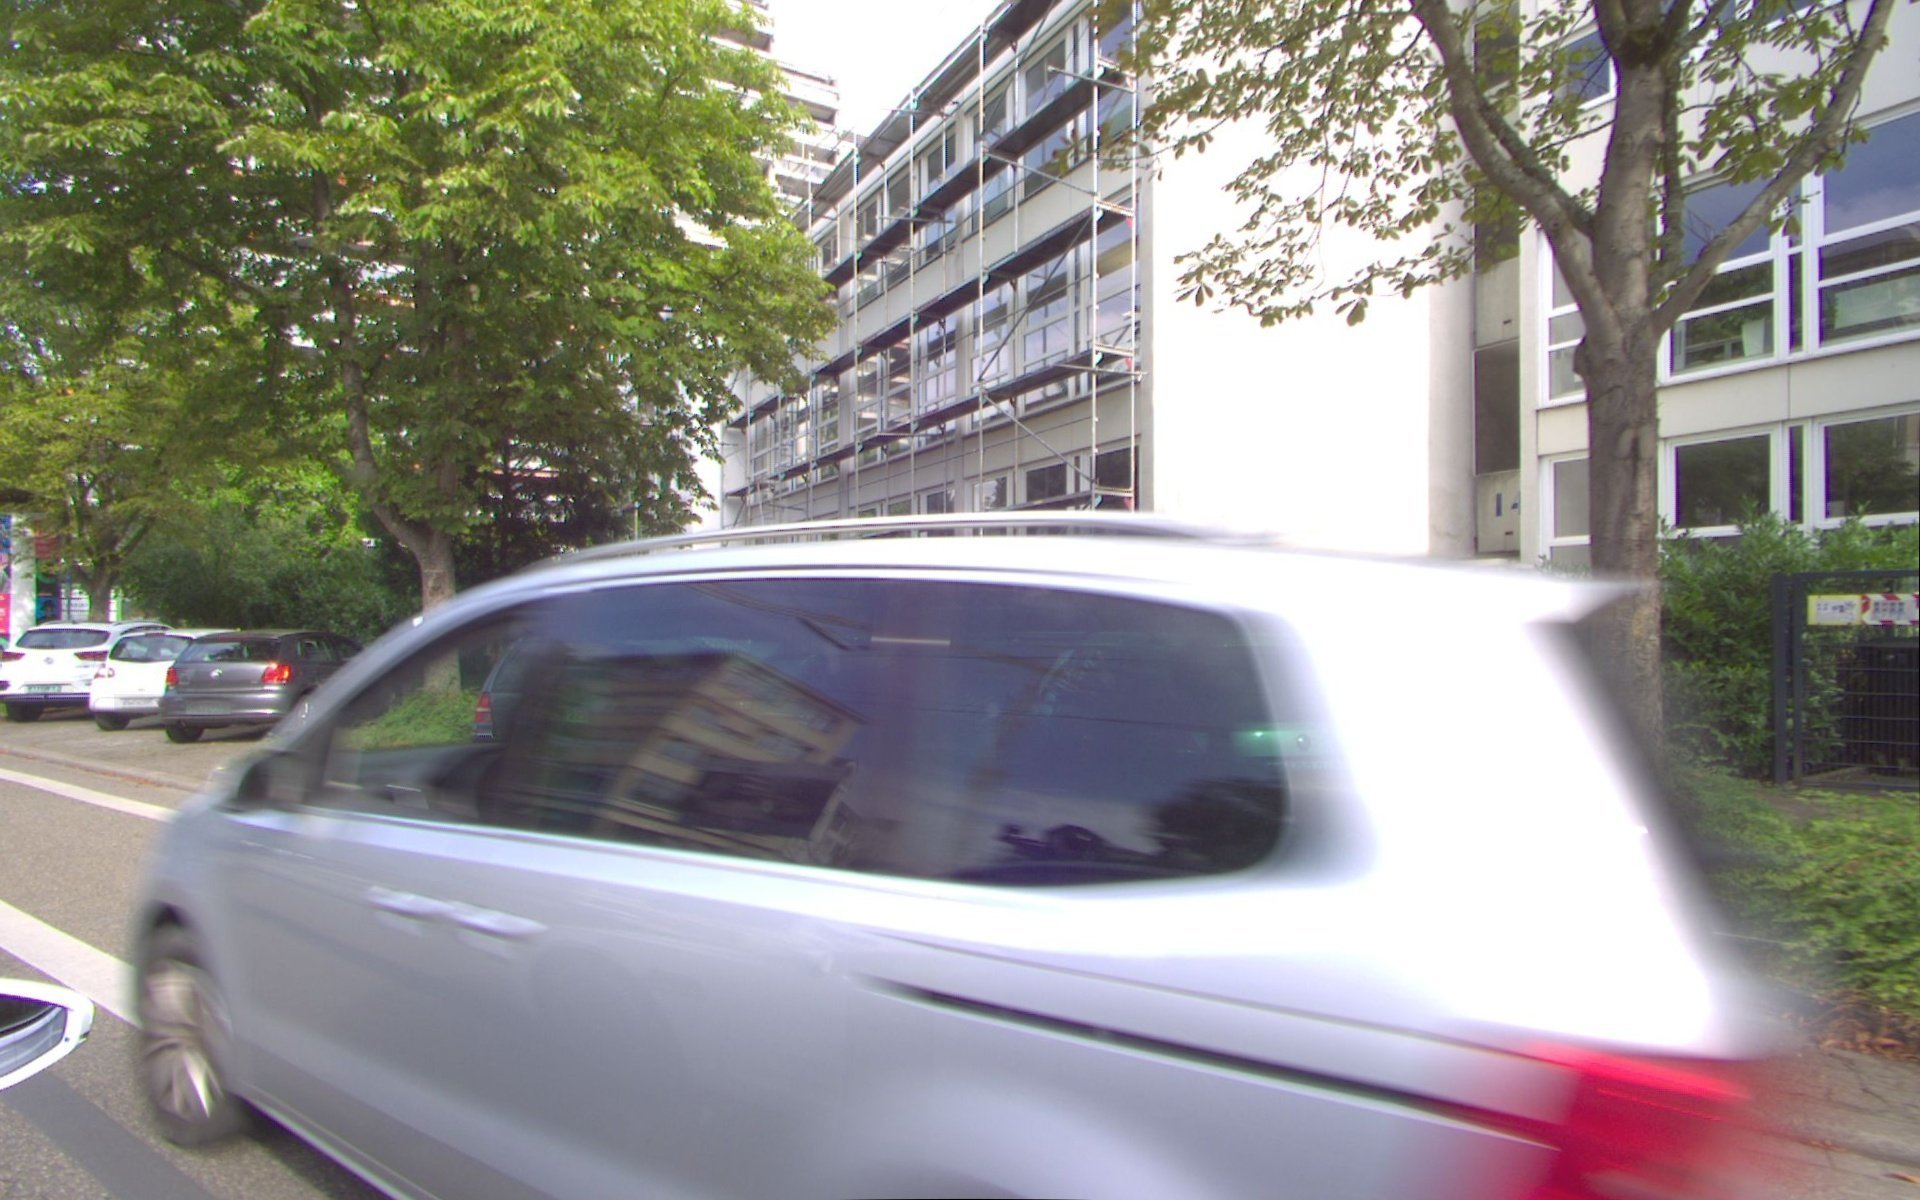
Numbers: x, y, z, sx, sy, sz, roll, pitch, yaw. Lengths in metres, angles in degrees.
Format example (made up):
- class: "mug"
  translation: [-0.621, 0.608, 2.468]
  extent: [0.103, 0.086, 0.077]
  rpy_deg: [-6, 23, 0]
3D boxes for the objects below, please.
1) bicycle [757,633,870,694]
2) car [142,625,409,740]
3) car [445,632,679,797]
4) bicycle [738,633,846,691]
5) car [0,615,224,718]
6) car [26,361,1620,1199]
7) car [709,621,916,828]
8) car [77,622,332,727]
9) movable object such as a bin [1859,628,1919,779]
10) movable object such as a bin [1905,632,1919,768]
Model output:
- class: "bicycle"
  translation: [-2.648, 1.130, 18.139]
  extent: [1.949, 1.057, 0.592]
  rpy_deg: [1, -1, -30]
- class: "car"
  translation: [-9.656, 1.099, 14.493]
  extent: [1.650, 1.438, 3.647]
  rpy_deg: [0, -2, -6]
- class: "car"
  translation: [-4.104, 1.071, 10.985]
  extent: [1.783, 1.433, 4.167]
  rpy_deg: [0, -2, -13]
- class: "bicycle"
  translation: [-3.163, 1.149, 18.876]
  extent: [1.944, 1.057, 0.593]
  rpy_deg: [1, -1, -20]
- class: "car"
  translation: [-14.833, 1.101, 17.640]
  extent: [1.651, 1.623, 3.644]
  rpy_deg: [0, -2, -12]
- class: "car"
  translation: [-0.808, 0.696, 2.927]
  extent: [4.553, 1.723, 1.808]
  rpy_deg: [-1, -2, 34]
- class: "car"
  translation: [-1.410, 0.993, 9.371]
  extent: [1.566, 1.557, 3.416]
  rpy_deg: [0, -1, -10]
- class: "car"
  translation: [-11.984, 1.131, 16.210]
  extent: [1.650, 1.493, 3.647]
  rpy_deg: [0, -2, -6]
- class: "movable object such as a bin"
  translation: [9.484, 0.989, 9.747]
  extent: [1.012, 1.425, 0.906]
  rpy_deg: [1, -1, -36]
- class: "movable object such as a bin"
  translation: [10.650, 1.041, 10.352]
  extent: [1.050, 1.409, 1.111]
  rpy_deg: [1, -1, -36]
